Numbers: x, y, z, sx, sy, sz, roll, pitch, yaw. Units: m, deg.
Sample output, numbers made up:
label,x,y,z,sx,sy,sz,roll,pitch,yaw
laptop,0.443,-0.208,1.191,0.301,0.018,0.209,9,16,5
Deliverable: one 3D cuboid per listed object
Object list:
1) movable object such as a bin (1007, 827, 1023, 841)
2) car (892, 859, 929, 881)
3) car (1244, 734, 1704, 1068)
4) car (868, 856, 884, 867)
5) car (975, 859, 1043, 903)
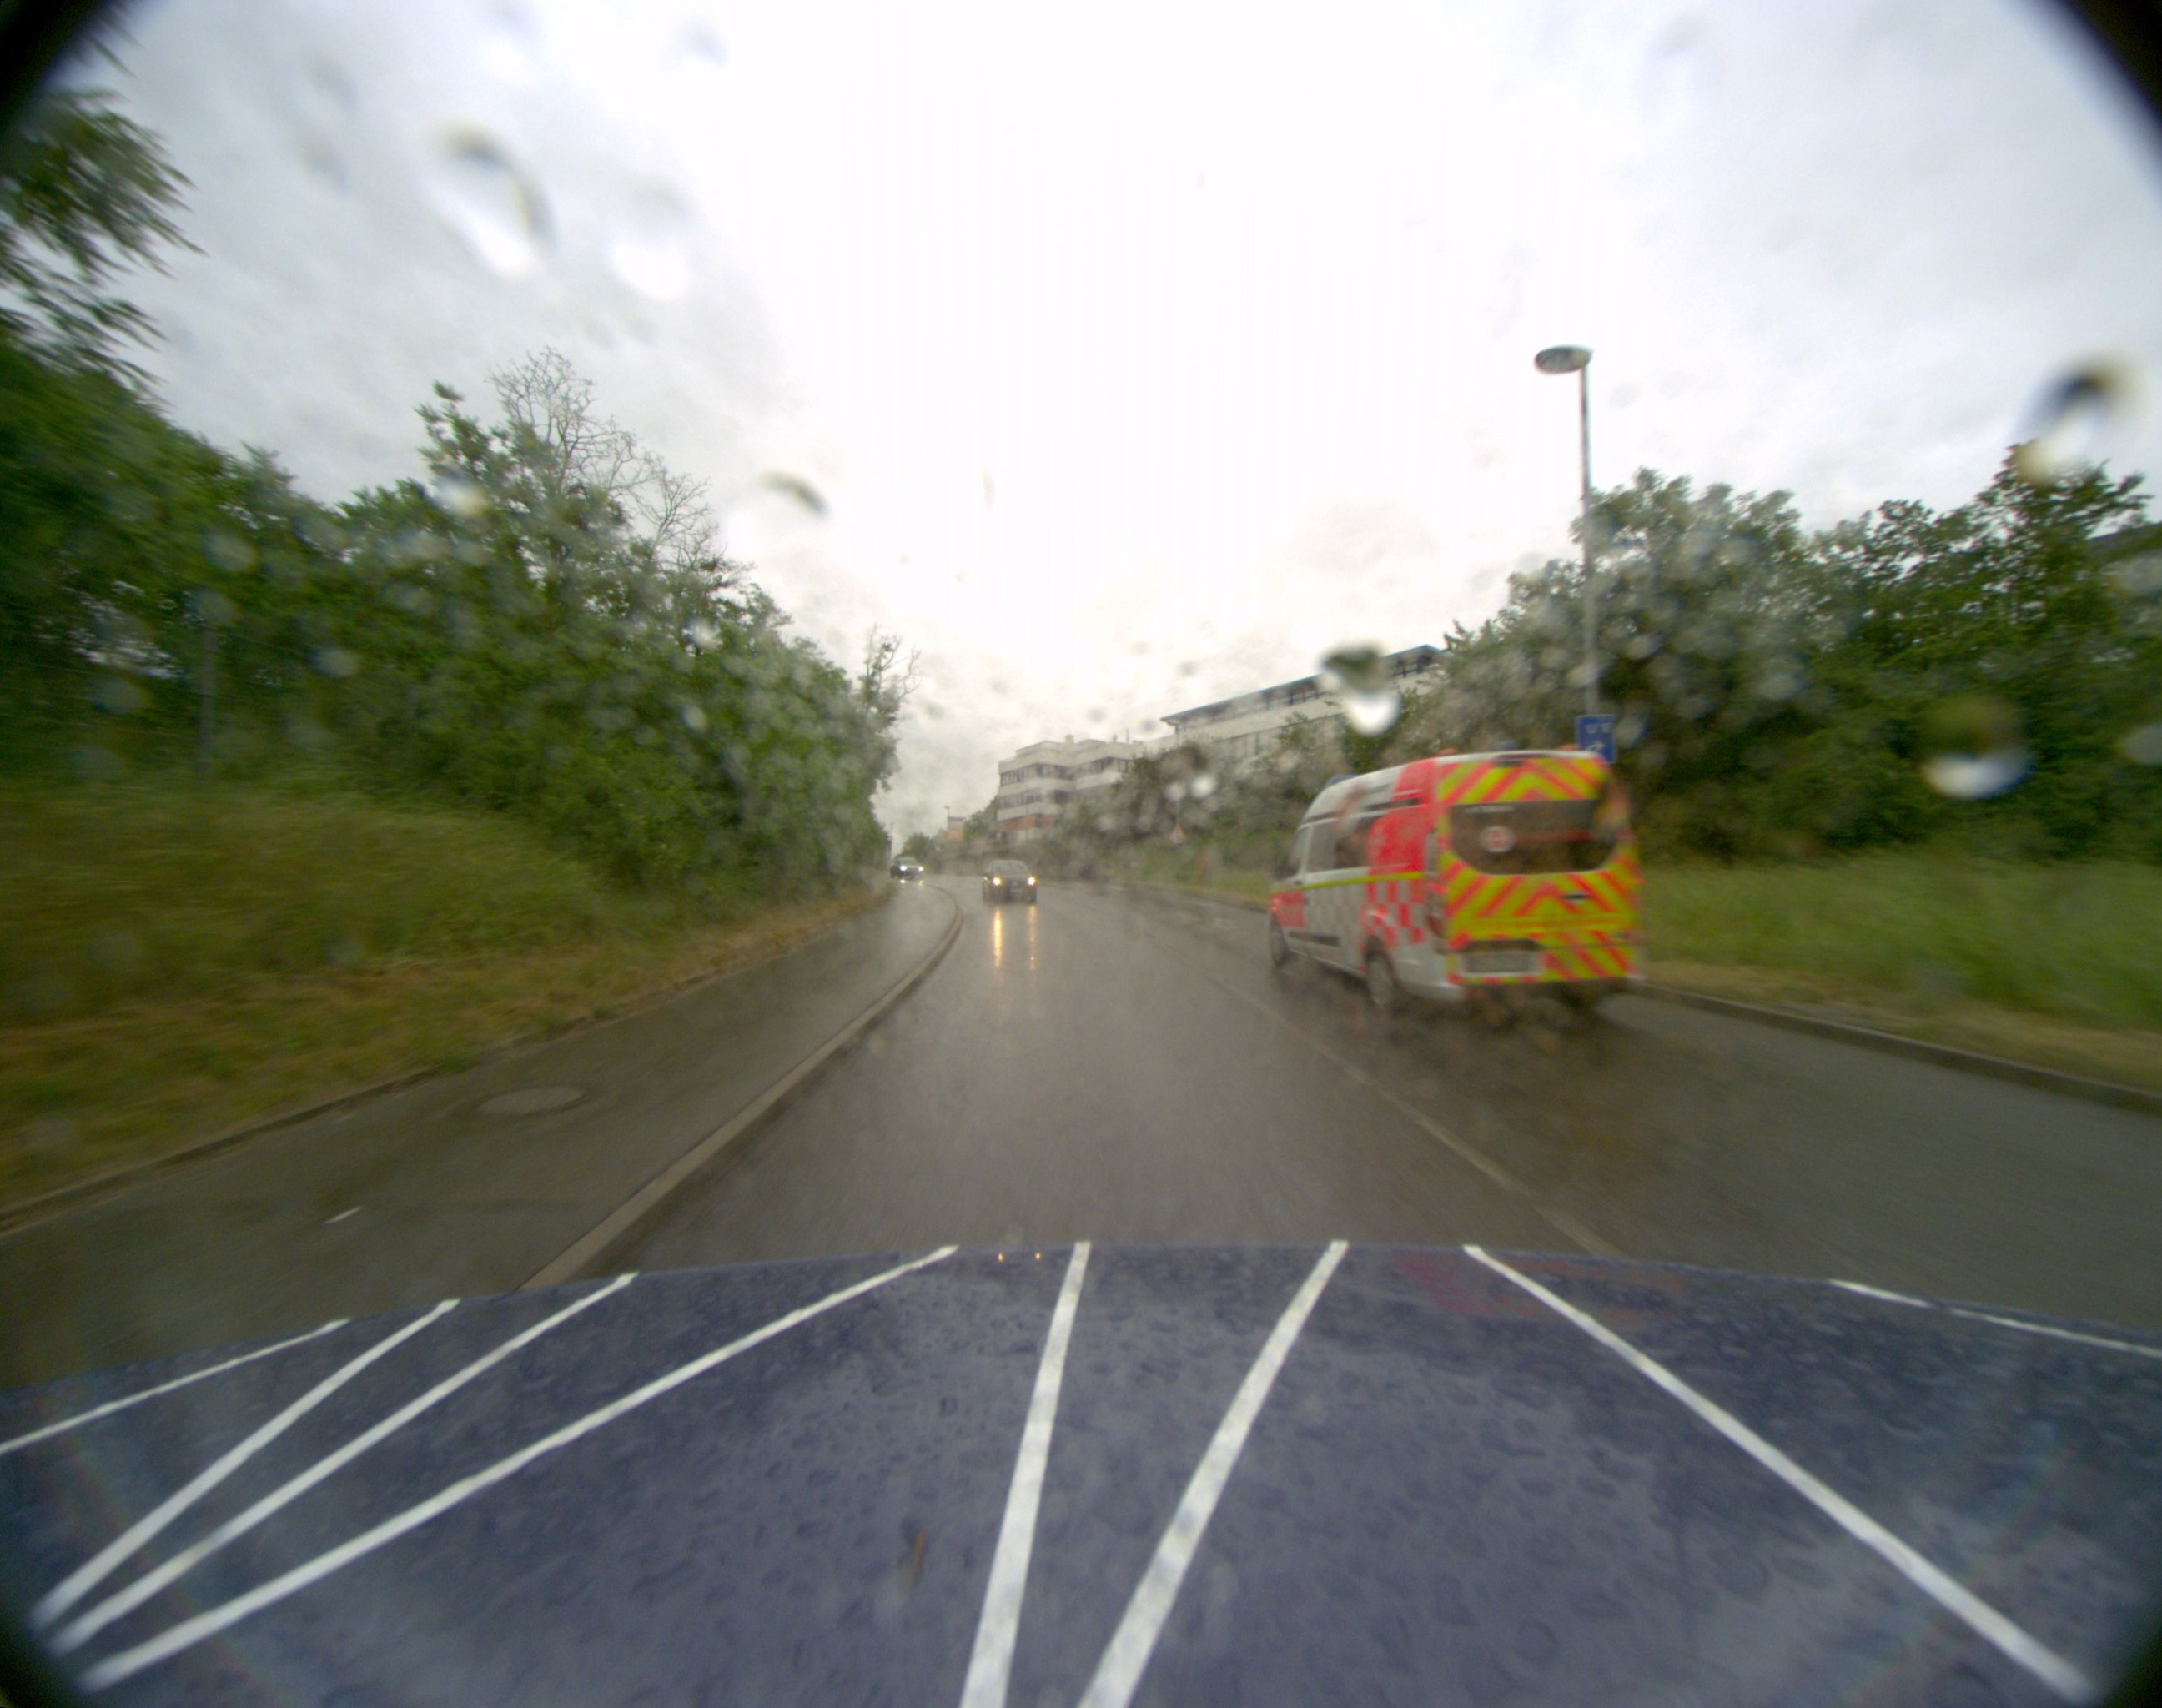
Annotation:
label,x,y,z,sx,sy,sz,roll,pitch,yaw
movable object such as a bin,-6.634,-2.018,76.774,1.247,1.338,1.215,1,0,-25
car,-12.571,1.166,55.980,1.878,1.432,4.369,3,-1,-22
car,3.523,0.333,8.370,2.050,2.403,5.454,-2,0,-2
car,-29.390,0.995,108.840,1.741,1.452,3.713,1,1,-22
car,-2.780,0.951,28.527,1.876,1.432,4.373,-3,0,-14
